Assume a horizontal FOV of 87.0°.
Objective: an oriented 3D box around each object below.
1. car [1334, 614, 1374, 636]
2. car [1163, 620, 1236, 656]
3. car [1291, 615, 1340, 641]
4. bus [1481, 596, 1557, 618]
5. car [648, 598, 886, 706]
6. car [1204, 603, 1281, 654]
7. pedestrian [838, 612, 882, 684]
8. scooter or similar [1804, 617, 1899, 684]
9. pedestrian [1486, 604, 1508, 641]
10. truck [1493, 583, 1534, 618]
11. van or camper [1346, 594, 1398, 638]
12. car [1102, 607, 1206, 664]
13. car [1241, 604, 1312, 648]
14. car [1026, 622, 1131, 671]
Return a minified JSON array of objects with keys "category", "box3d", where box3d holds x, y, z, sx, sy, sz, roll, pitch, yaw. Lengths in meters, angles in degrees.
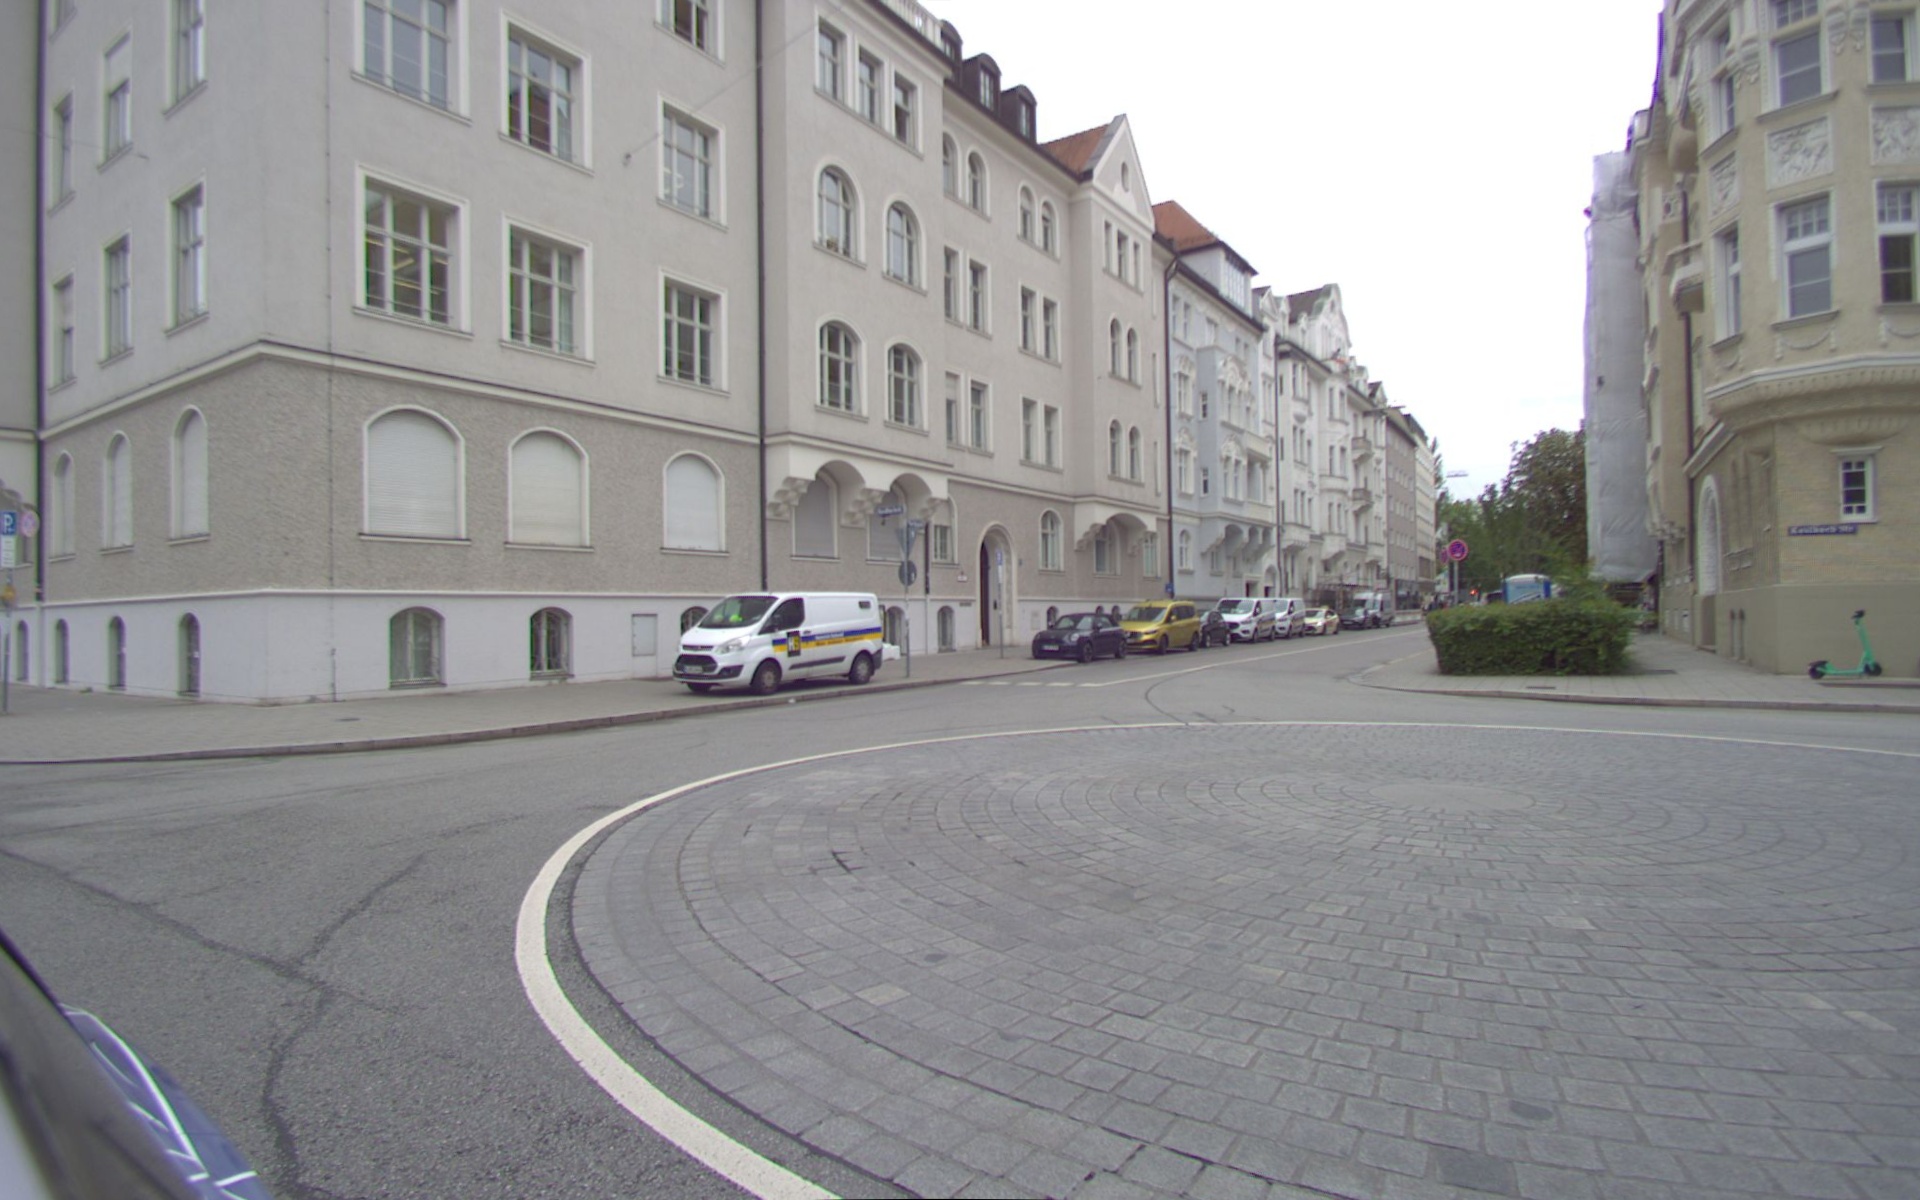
[{"category":"car","box3d":[25.391,1.617,65.117,1.693,1.356,3.498,-2,-2,34]},{"category":"car","box3d":[9.330,1.449,39.326,1.692,1.356,3.499,-1,-2,33]},{"category":"car","box3d":[19.030,1.501,54.135,1.692,1.356,3.499,-1,-2,33]},{"category":"bus","box3d":[77.852,0.914,140.725,14.307,2.921,2.729,-1,-1,-32]},{"category":"car","box3d":[-3.692,0.954,20.336,1.919,1.895,4.857,-2,-1,32]},{"category":"car","box3d":[12.468,1.240,44.446,2.116,2.108,4.772,-1,-2,30]},{"category":"pedestrian","box3d":[-2.321,1.108,23.609,0.846,1.648,0.730,-1,-1,11]},{"category":"scooter or similar","box3d":[15.488,0.866,17.597,1.198,1.124,0.468,-1,-1,0]},{"category":"pedestrian","box3d":[25.718,1.063,48.466,0.874,1.740,1.040,-1,-1,32]},{"category":"truck","box3d":[60.684,0.144,110.910,3.182,3.651,8.631,-2,-2,34]},{"category":"van or camper","box3d":[28.793,1.096,70.552,1.995,2.935,6.362,-1,-1,35]},{"category":"car","box3d":[6.768,1.193,35.003,2.023,1.852,4.086,-2,-2,36]},{"category":"car","box3d":[15.574,1.273,49.641,2.118,2.009,4.769,-1,-2,32]},{"category":"car","box3d":[3.651,1.369,30.637,1.693,1.356,3.637,-2,-2,34]}]
